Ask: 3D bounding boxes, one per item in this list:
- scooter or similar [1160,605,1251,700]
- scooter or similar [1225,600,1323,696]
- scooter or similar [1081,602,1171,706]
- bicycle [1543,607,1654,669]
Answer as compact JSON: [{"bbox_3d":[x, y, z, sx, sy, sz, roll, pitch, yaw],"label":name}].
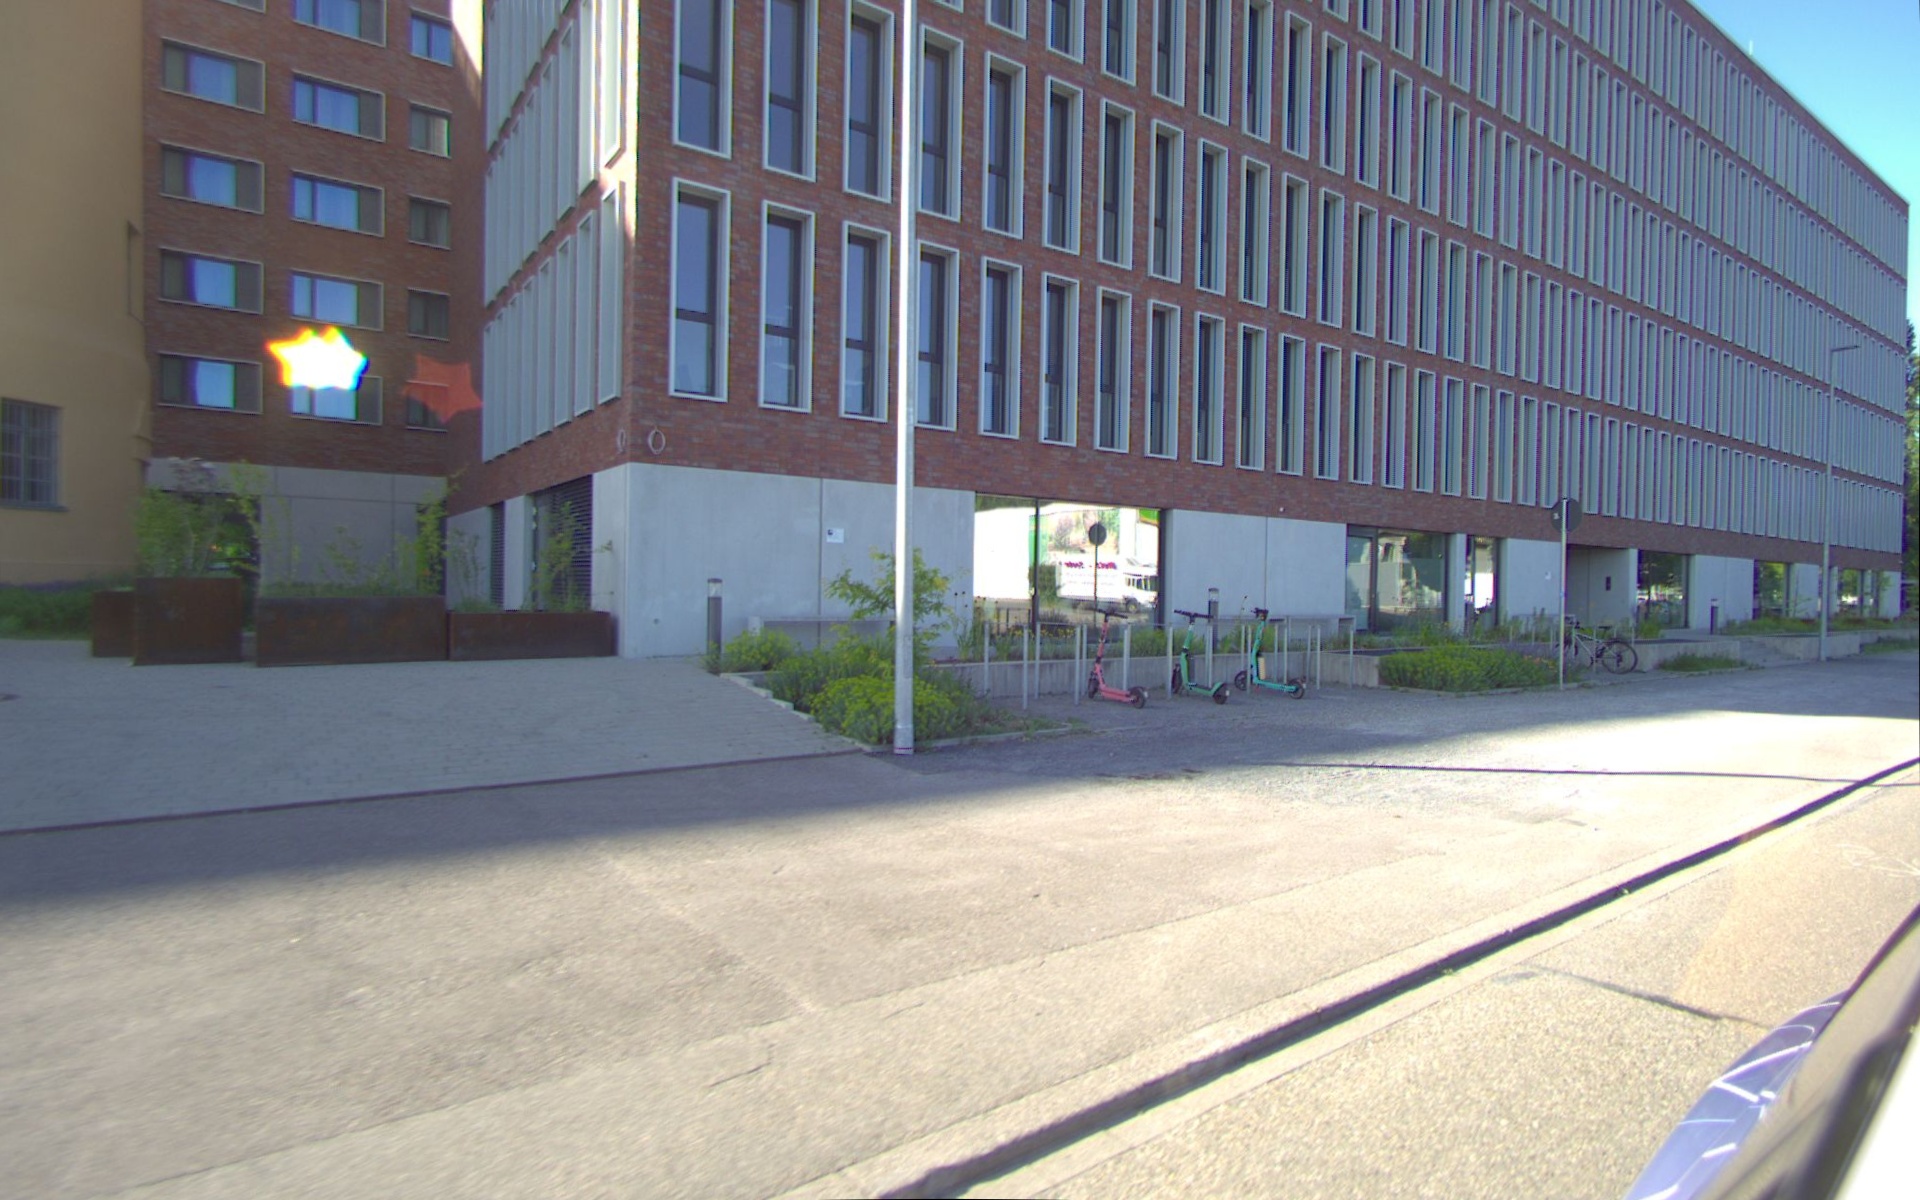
[{"bbox_3d":[3.257,0.676,13.485,0.359,1.170,1.248,2,0,-33],"label":"scooter or similar"},{"bbox_3d":[4.436,0.651,14.361,0.415,1.261,1.345,2,0,-33],"label":"scooter or similar"},{"bbox_3d":[2.064,0.651,12.674,0.333,1.210,1.248,2,0,-33],"label":"scooter or similar"},{"bbox_3d":[13.564,0.786,21.543,0.369,1.184,1.934,2,1,-43],"label":"bicycle"}]
